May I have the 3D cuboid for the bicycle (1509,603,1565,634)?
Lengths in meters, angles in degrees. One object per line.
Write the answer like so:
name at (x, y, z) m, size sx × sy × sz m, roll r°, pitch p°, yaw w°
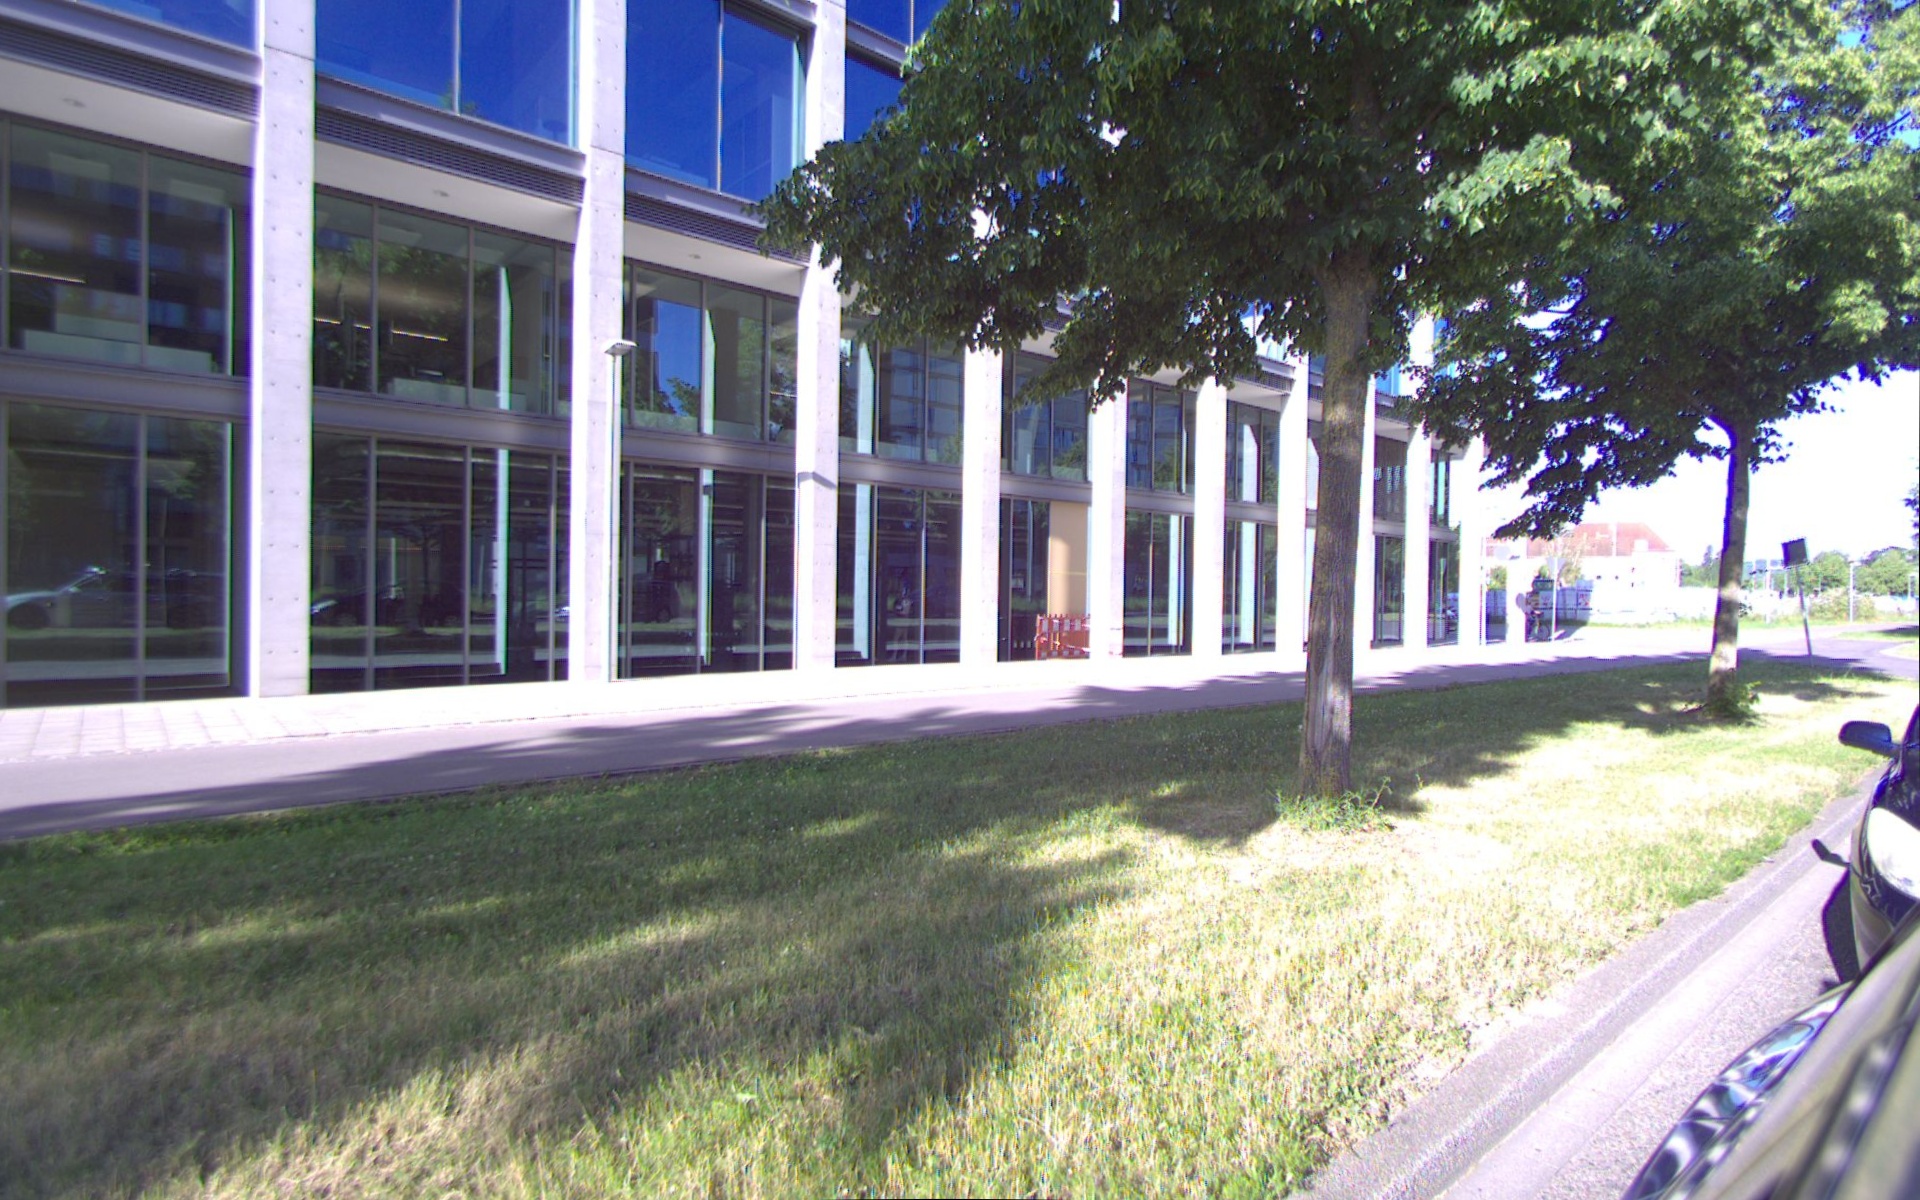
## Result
bicycle at (24.230, 0.758, 42.528) m, size 0.581 × 1.170 × 1.927 m, roll 1°, pitch 2°, yaw -37°

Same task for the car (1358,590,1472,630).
car at (19.501, 0.390, 43.494) m, size 1.963 × 1.598 × 3.997 m, roll 0°, pitch 1°, yaw -38°

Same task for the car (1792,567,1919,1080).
car at (4.879, 0.662, 3.927) m, size 4.403 × 1.500 × 1.845 m, roll 0°, pitch 1°, yaw -41°

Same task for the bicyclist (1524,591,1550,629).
bicyclist at (24.243, 0.407, 42.514) m, size 0.581 × 1.558 × 0.699 m, roll 1°, pitch 2°, yaw -37°
